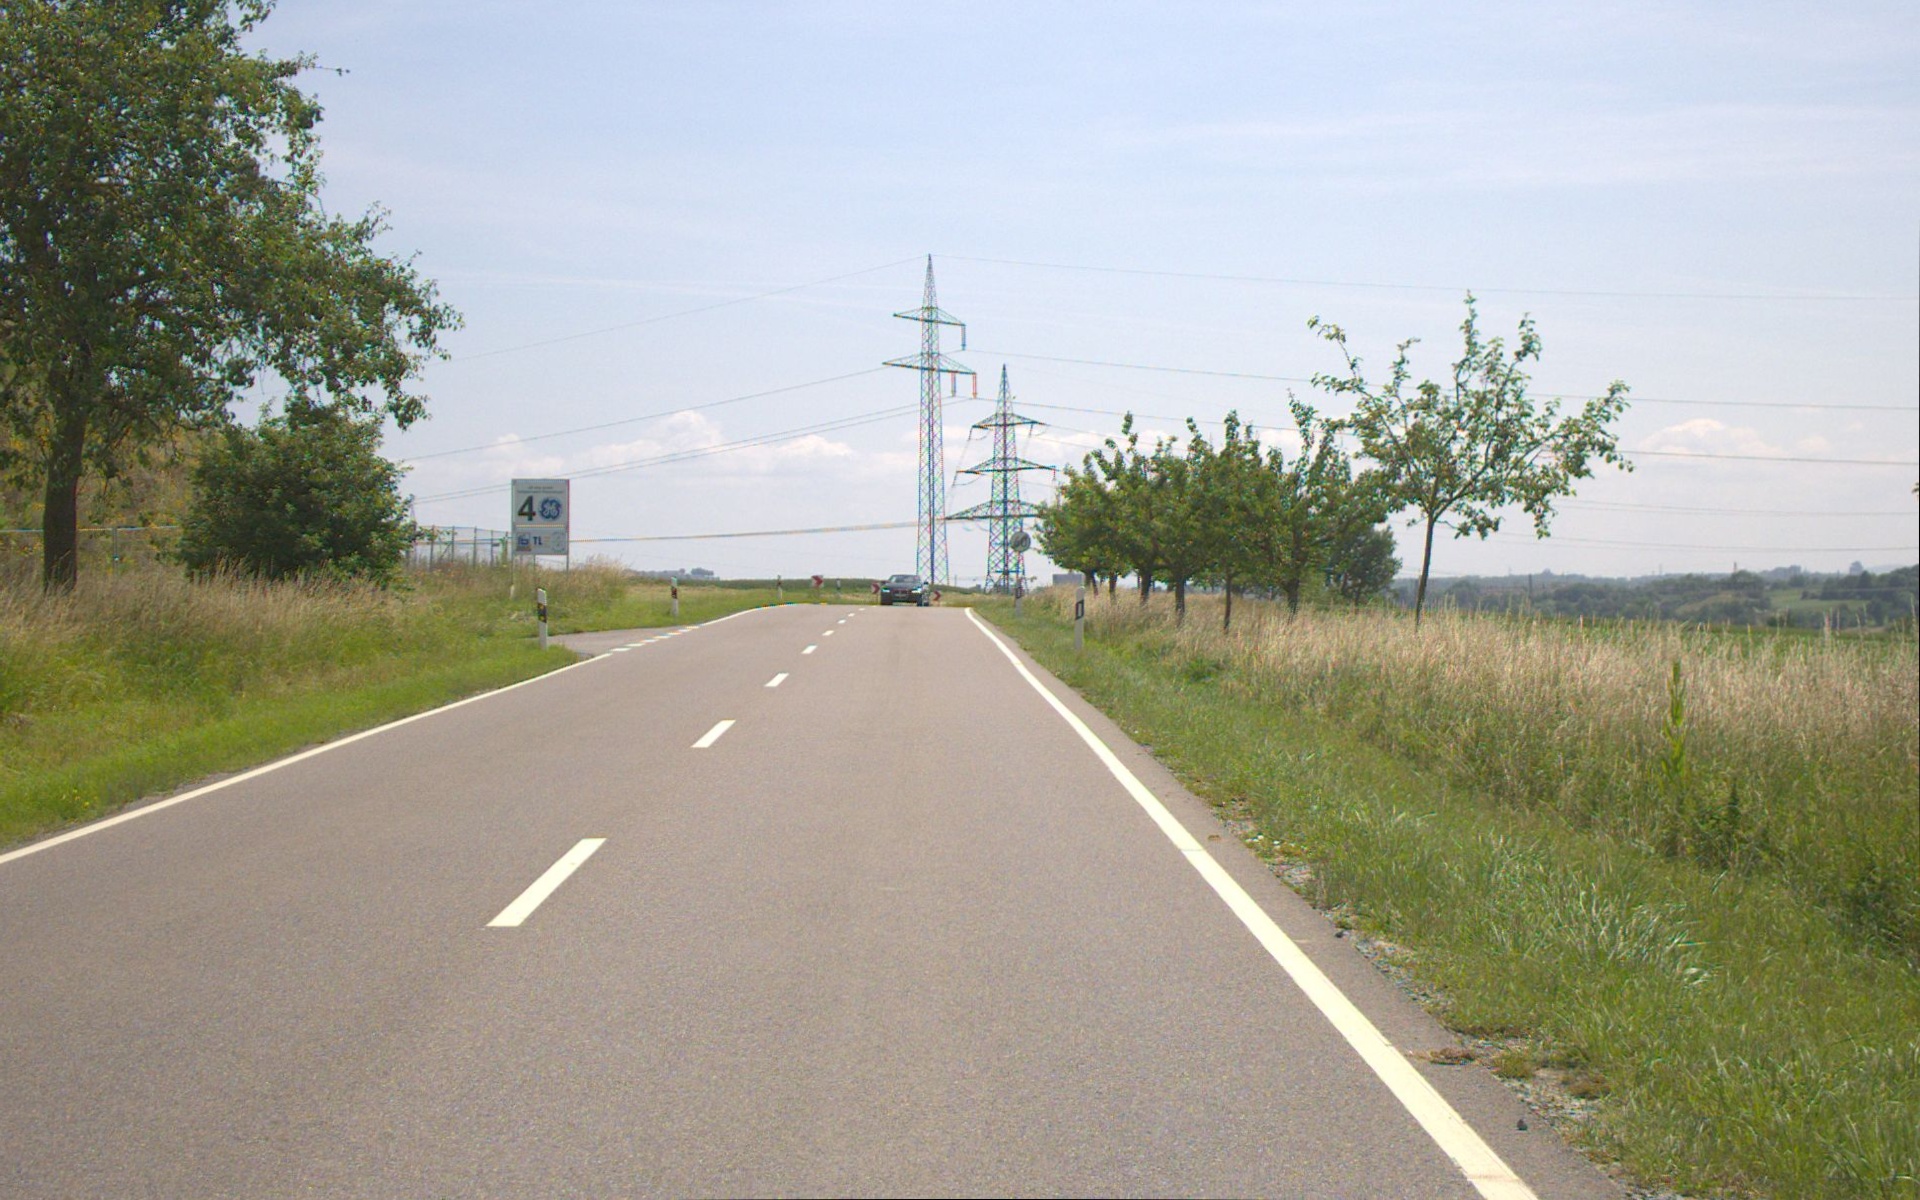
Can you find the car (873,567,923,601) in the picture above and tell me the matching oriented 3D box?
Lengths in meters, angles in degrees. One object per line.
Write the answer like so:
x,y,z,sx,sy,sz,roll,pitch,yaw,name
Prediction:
-2.661,-0.682,148.023,1.823,1.406,4.000,0,1,4,car
